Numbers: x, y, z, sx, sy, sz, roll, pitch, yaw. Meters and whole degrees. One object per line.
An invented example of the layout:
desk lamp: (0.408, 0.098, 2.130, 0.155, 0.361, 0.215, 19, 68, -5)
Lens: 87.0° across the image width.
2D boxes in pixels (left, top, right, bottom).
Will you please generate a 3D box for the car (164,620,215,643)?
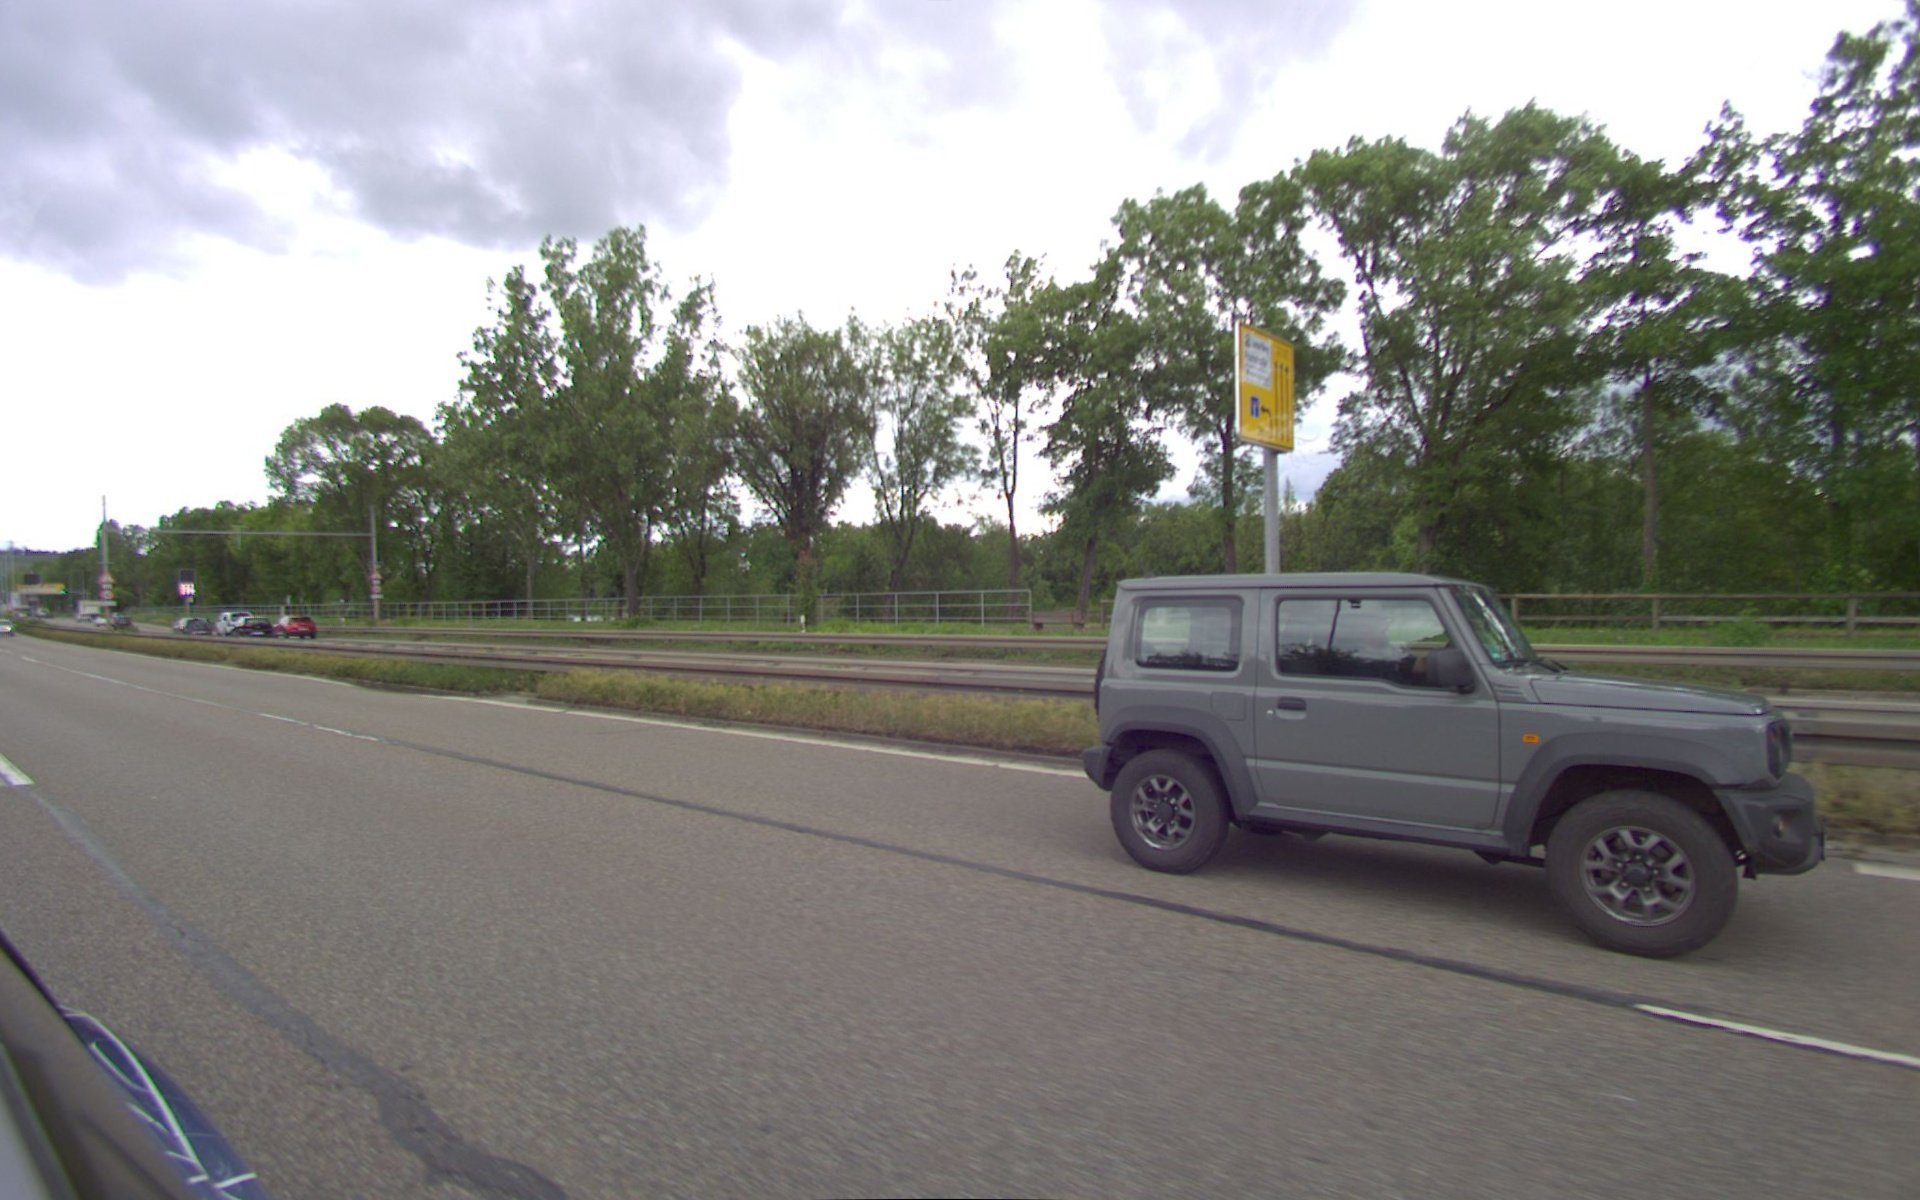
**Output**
car: (-53.799, 2.176, 70.619, 5.550, 1.476, 1.841, -1, -1, 43)

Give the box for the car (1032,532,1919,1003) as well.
car: (2.514, 0.664, 5.498, 3.994, 1.699, 1.681, -2, -2, 38)

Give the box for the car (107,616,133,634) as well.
car: (-87.904, 2.590, 105.875, 3.743, 1.788, 1.707, -2, -1, 45)

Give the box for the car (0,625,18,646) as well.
car: (-82.408, 3.108, 86.964, 4.147, 1.738, 1.858, -2, 0, 44)

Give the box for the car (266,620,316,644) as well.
car: (-43.571, 2.093, 65.899, 4.380, 1.476, 1.699, -1, -1, 43)

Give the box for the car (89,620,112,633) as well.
car: (-112.289, 3.456, 132.160, 4.720, 1.687, 1.846, -2, -2, 44)

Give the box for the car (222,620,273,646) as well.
car: (-41.654, 1.927, 59.150, 3.911, 1.435, 1.642, -1, -1, 43)

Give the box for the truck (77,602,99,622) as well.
truck: (-169.804, 2.349, 196.999, 2.855, 3.606, 9.596, -1, 0, -43)

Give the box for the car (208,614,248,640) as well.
car: (-55.196, 2.003, 76.267, 4.561, 1.898, 1.593, -1, -1, 43)

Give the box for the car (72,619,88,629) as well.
car: (-145.714, 4.046, 167.513, 1.678, 1.617, 4.540, 2, -2, -45)
